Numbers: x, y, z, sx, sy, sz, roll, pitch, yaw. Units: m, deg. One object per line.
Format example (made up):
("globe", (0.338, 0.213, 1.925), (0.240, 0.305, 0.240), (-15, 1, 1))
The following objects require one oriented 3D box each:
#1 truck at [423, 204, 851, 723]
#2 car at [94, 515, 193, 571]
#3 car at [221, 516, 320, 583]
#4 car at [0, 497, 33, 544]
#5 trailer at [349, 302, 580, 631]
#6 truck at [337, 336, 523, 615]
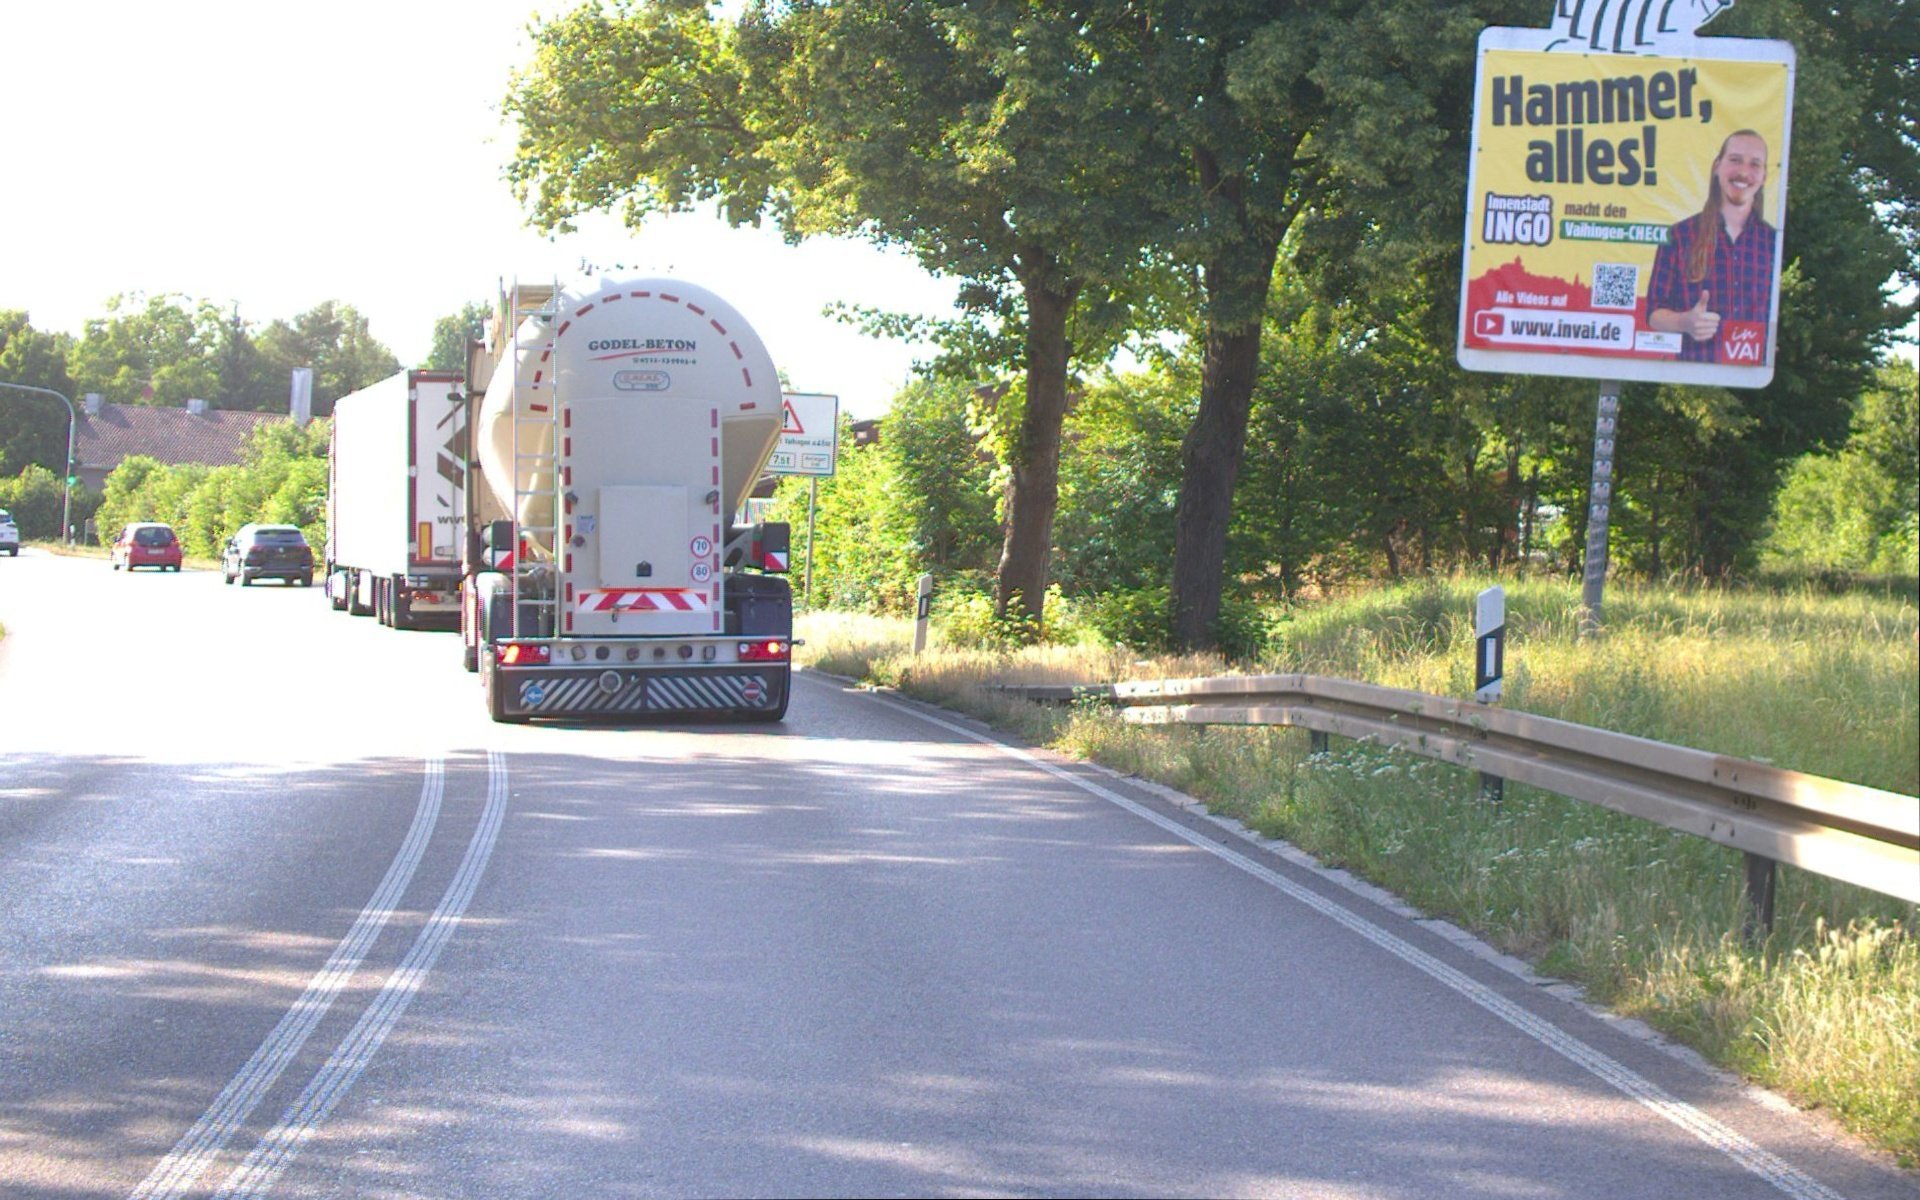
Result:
("truck", (-3.505, -1.156, 33.655), (2.975, 4.161, 11.666), (1, 1, -11))
("car", (-24.825, -1.723, 104.433), (2.299, 1.650, 4.416), (1, 1, -22))
("car", (-17.617, -1.288, 87.724), (1.993, 1.650, 4.001), (1, 1, -18))
("car", (-34.997, -2.887, 125.030), (1.841, 1.650, 4.001), (1, 1, -25))
("trailer", (-8.315, -2.050, 56.602), (2.963, 4.865, 10.291), (1, 0, -12))
("truck", (-9.936, -2.222, 63.929), (2.962, 4.870, 6.432), (1, 0, -12))
